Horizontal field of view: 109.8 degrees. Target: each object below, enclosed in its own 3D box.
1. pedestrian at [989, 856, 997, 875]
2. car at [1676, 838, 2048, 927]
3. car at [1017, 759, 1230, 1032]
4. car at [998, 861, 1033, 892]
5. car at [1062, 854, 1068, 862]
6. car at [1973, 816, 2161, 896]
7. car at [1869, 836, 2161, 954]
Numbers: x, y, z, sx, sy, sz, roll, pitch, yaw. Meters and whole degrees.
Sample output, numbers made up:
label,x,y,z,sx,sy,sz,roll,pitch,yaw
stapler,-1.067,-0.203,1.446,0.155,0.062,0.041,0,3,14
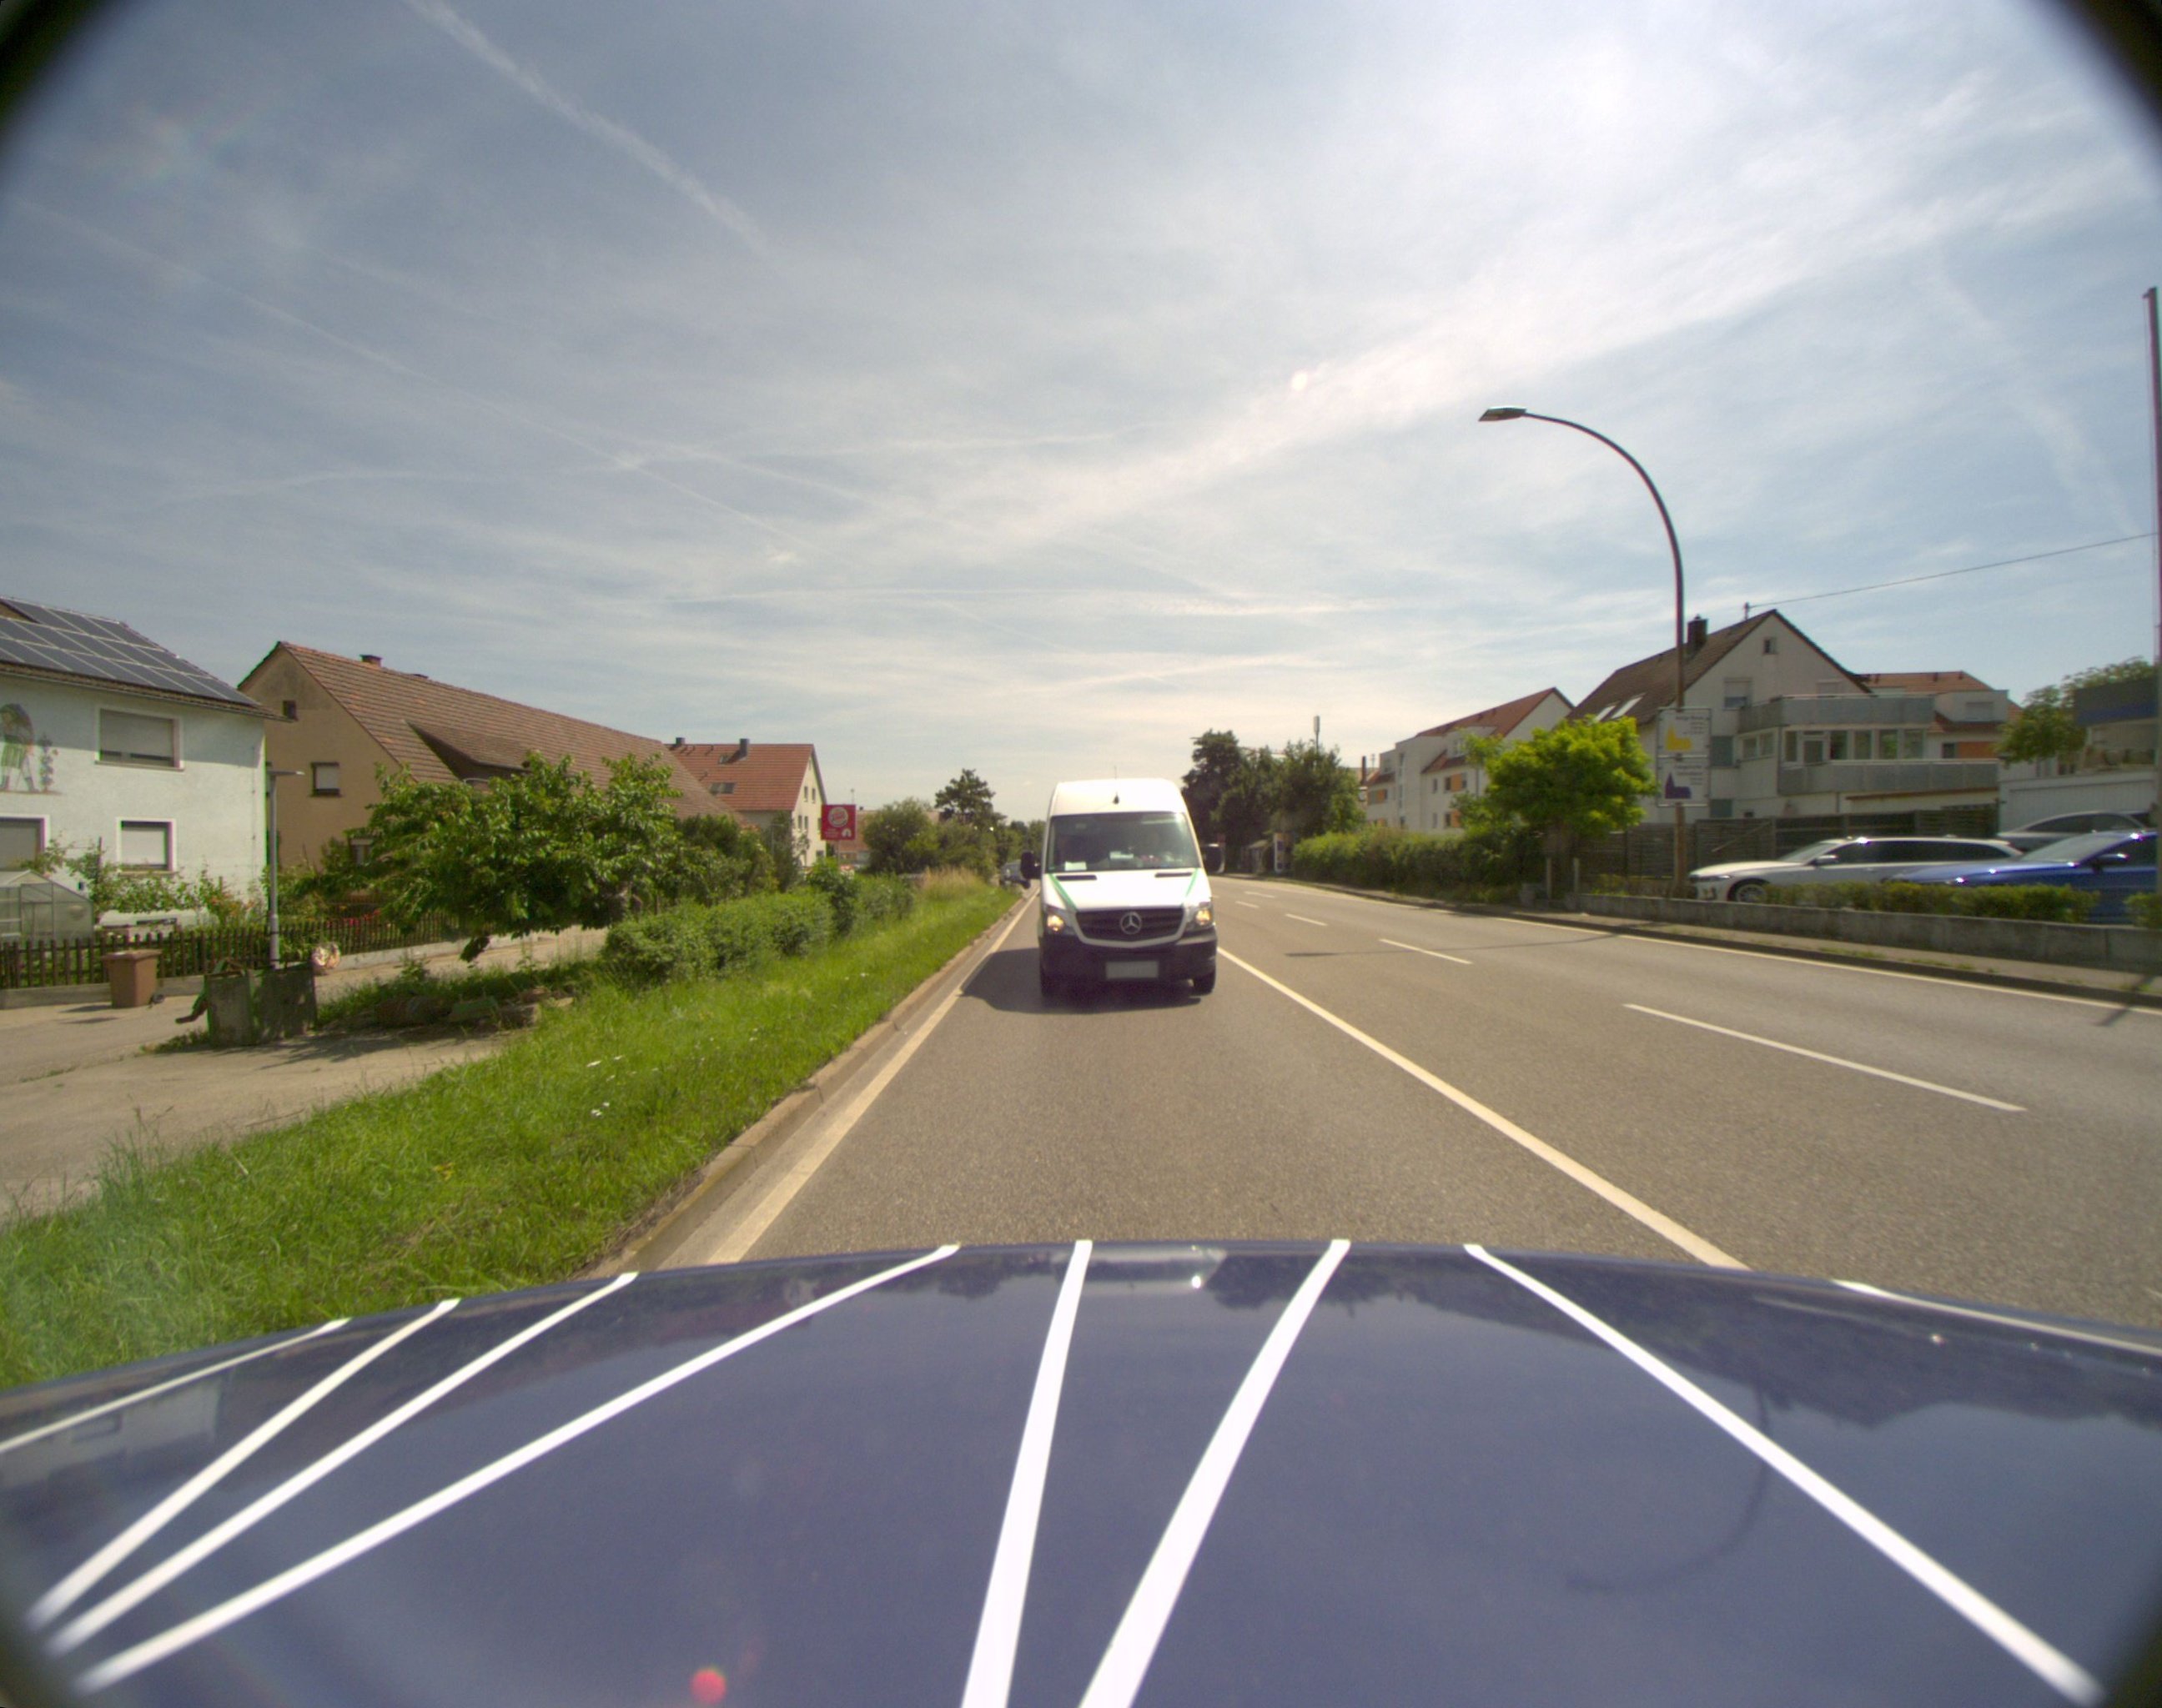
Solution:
label,x,y,z,sx,sy,sz,roll,pitch,yaw
pedestrian,-7.186,0.946,62.035,0.522,1.540,0.562,-2,2,-19
car,14.339,0.520,14.404,4.568,1.439,1.860,-2,1,29
car,0.384,0.388,9.987,1.939,2.514,5.748,-2,0,0
car,-3.692,1.245,43.276,1.636,1.476,3.551,-4,0,-2
car,-5.292,1.326,251.966,1.998,2.573,3.999,-2,1,0
car,20.593,-0.001,14.677,1.807,1.456,4.585,-2,0,10
car,14.167,0.517,10.399,4.331,1.439,1.860,-2,1,29
